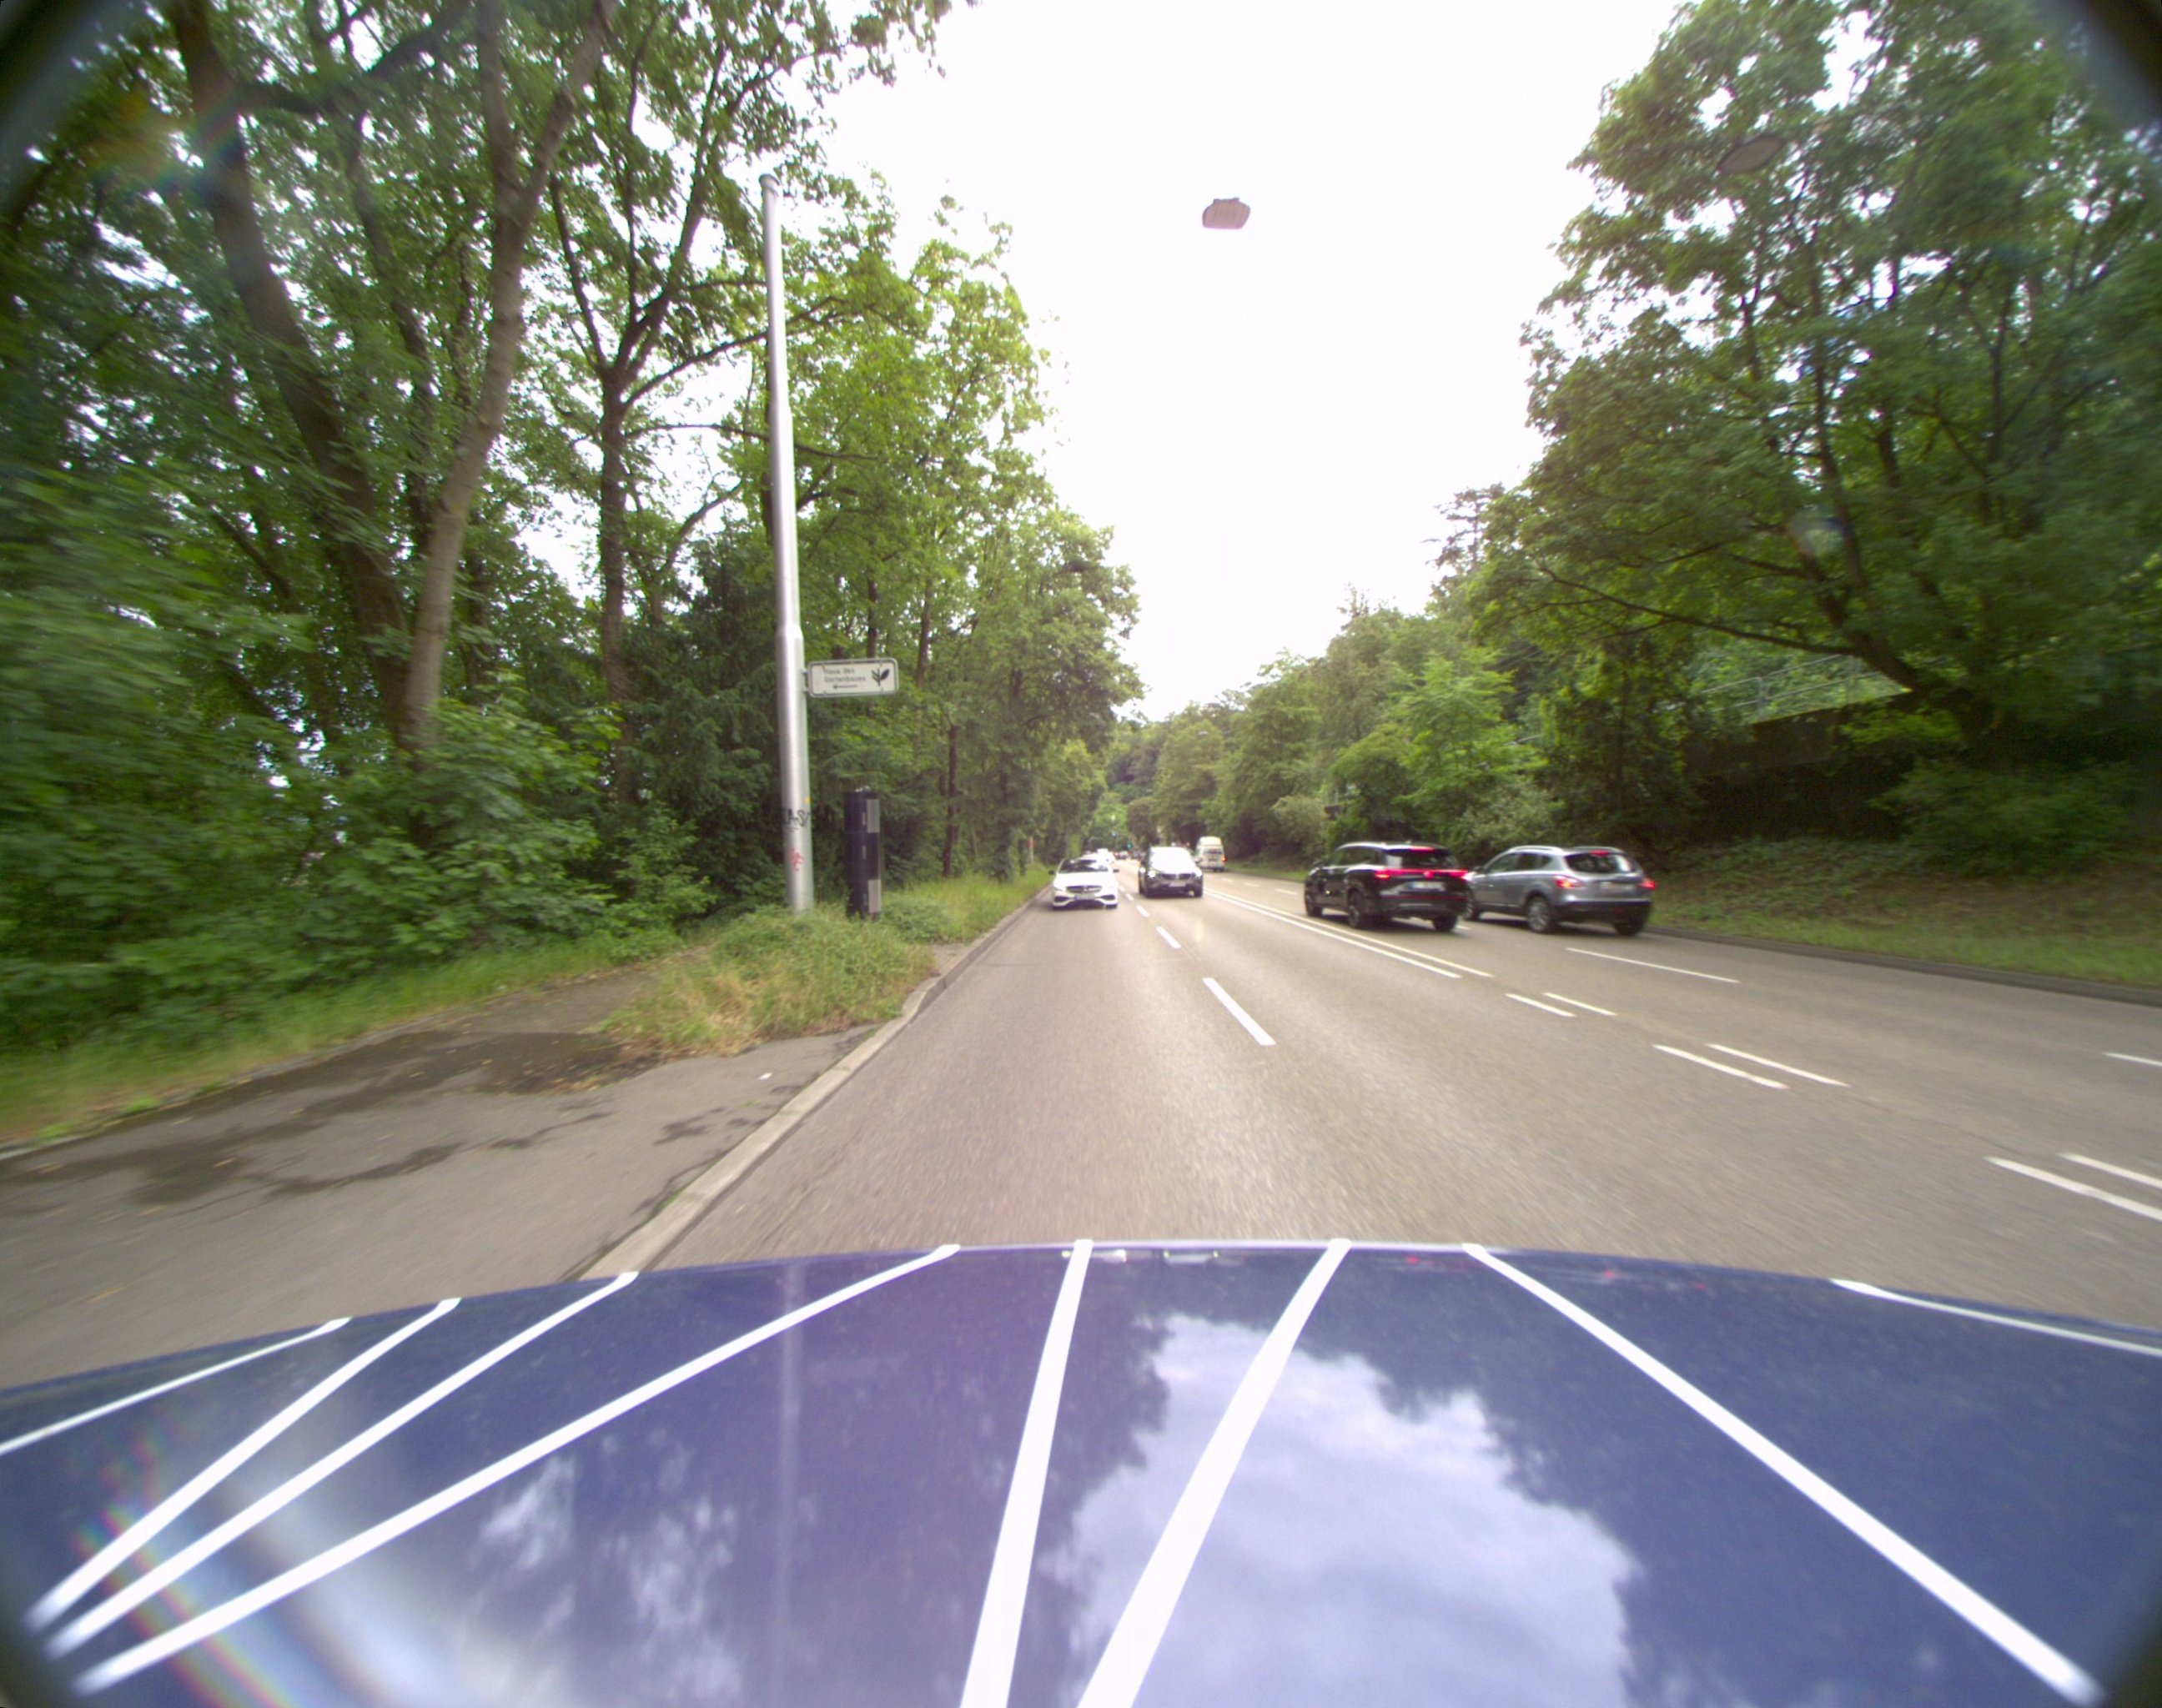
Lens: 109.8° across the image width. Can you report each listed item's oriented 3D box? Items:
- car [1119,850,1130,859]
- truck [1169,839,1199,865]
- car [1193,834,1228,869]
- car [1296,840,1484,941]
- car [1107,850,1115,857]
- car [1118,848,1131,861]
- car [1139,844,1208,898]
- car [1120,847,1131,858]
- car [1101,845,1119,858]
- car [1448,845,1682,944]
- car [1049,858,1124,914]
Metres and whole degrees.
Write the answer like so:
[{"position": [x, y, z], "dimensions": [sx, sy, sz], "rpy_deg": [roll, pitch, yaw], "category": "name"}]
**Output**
[{"position": [7.637, 0.100, 133.955], "dimensions": [1.736, 1.502, 4.432], "rpy_deg": [1, 1, 1], "category": "car"}, {"position": [10.061, -0.269, 74.510], "dimensions": [2.182, 2.397, 6.465], "rpy_deg": [2, 1, 2], "category": "truck"}, {"position": [9.777, -0.216, 57.674], "dimensions": [1.892, 2.541, 4.914], "rpy_deg": [2, 1, 1], "category": "car"}, {"position": [5.933, 0.601, 15.322], "dimensions": [1.814, 1.652, 4.830], "rpy_deg": [2, 1, 1], "category": "car"}, {"position": [6.797, -0.144, 173.655], "dimensions": [1.802, 1.543, 3.999], "rpy_deg": [-2, 1, 1], "category": "car"}, {"position": [7.878, 0.081, 136.718], "dimensions": [1.691, 1.452, 3.999], "rpy_deg": [-30, 1, 1], "category": "car"}, {"position": [3.044, 0.512, 25.741], "dimensions": [1.871, 1.653, 4.191], "rpy_deg": [0, 1, 0], "category": "car"}, {"position": [7.988, -0.312, 137.181], "dimensions": [1.662, 1.763, 4.134], "rpy_deg": [1, 1, 1], "category": "car"}, {"position": [4.165, -0.357, 108.635], "dimensions": [1.699, 1.733, 3.996], "rpy_deg": [-2, 1, -10], "category": "car"}, {"position": [9.080, 0.653, 14.751], "dimensions": [1.796, 1.602, 4.188], "rpy_deg": [1, 1, -1], "category": "car"}, {"position": [0.151, 0.835, 21.755], "dimensions": [1.897, 1.289, 4.327], "rpy_deg": [-2, 1, 0], "category": "car"}]
